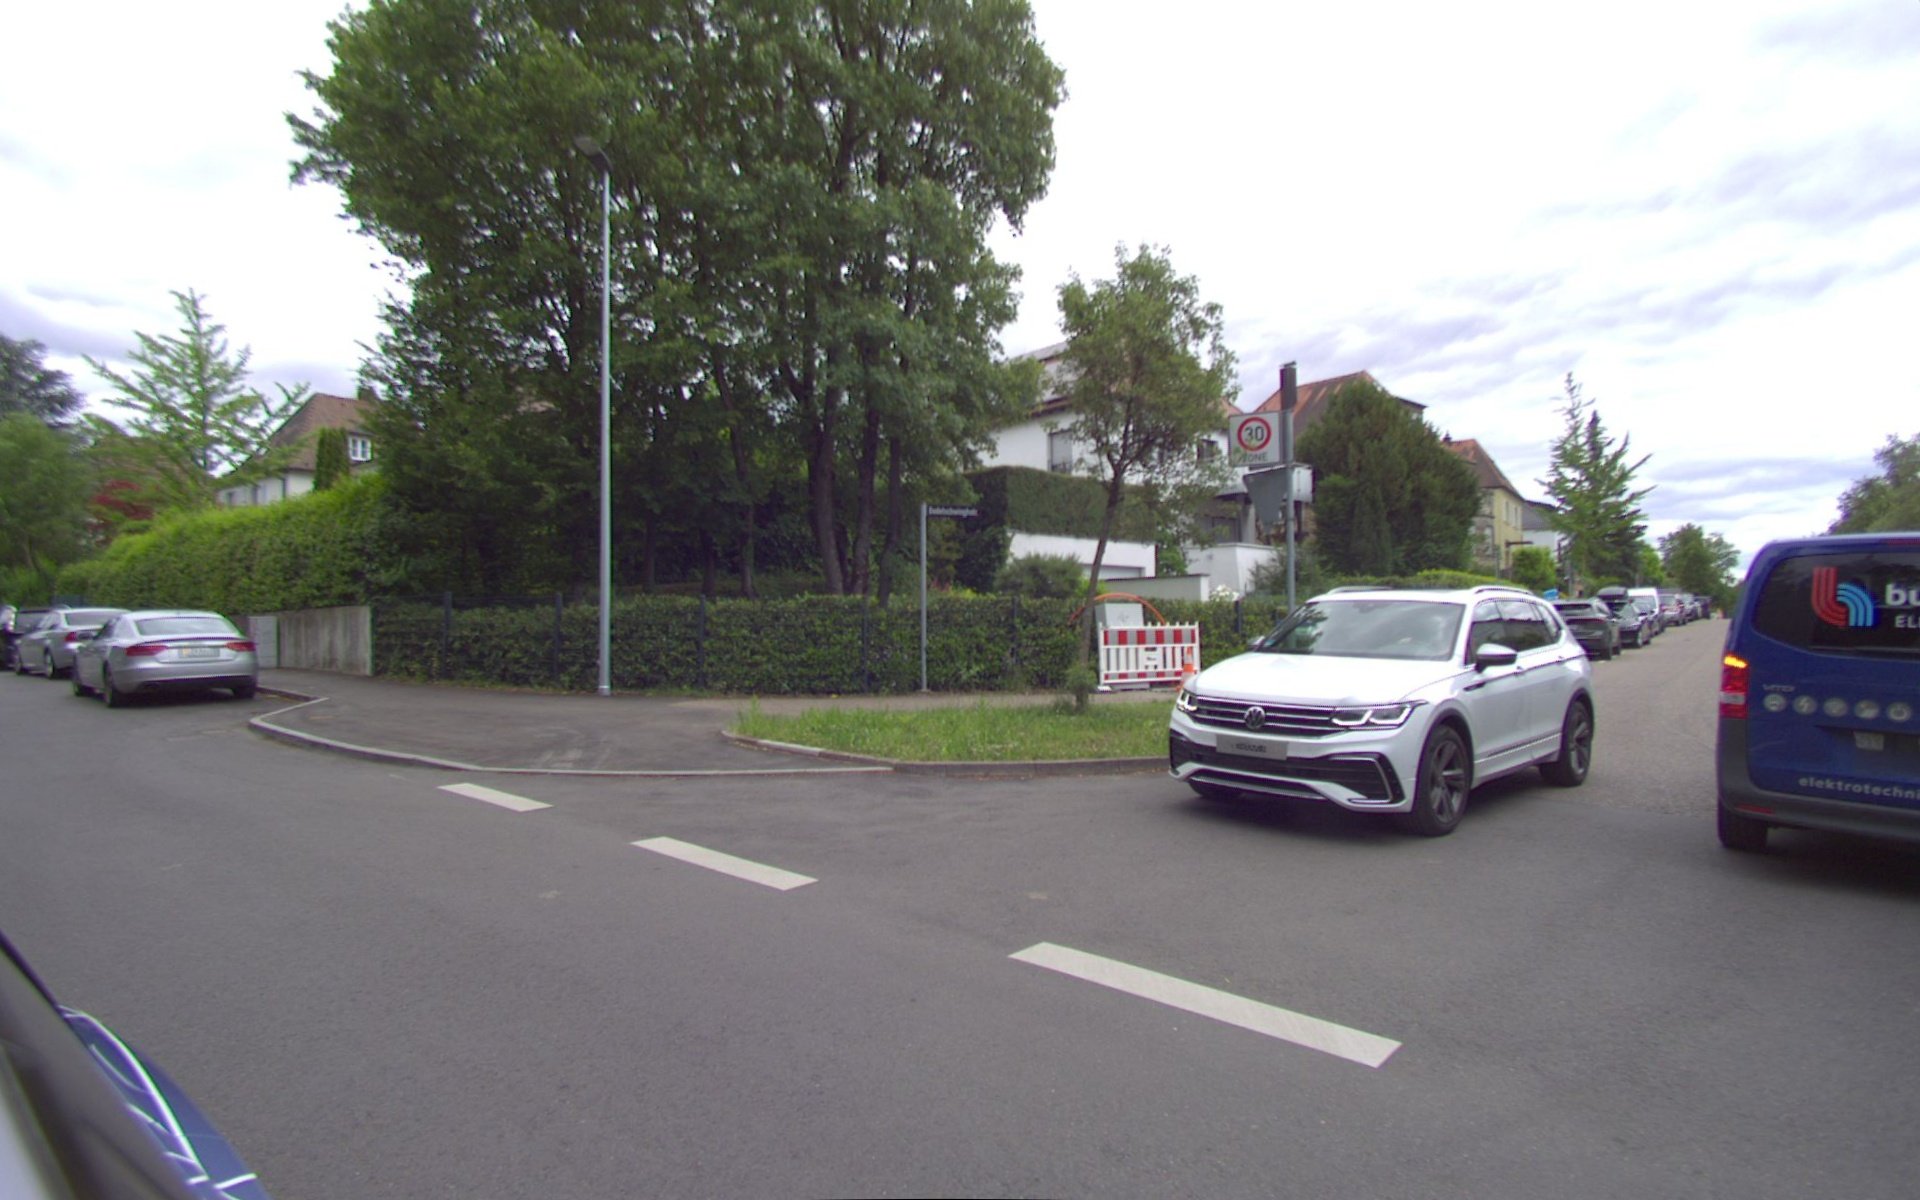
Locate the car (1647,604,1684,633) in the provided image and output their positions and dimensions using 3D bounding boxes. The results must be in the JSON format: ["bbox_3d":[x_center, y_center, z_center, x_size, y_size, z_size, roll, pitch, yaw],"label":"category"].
[{"bbox_3d":[36.943,0.950,53.028,1.527,1.422,3.510,-1,0,35],"label":"car"}]

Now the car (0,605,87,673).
[{"bbox_3d":[-23.204,0.923,25.040,4.469,1.545,1.640,-1,0,39],"label":"car"}]

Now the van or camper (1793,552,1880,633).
[{"bbox_3d":[34.133,-0.275,39.584,2.304,2.867,7.520,-1,0,39],"label":"van or camper"}]

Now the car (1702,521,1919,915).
[{"bbox_3d":[6.197,0.556,6.462,1.942,1.894,4.468,-1,0,41],"label":"car"}]

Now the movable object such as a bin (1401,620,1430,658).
[{"bbox_3d":[12.686,1.076,28.191,0.576,1.009,0.577,0,-1,-44],"label":"movable object such as a bin"}]

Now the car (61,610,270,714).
[{"bbox_3d":[-12.662,0.890,16.023,4.443,1.384,1.812,-1,0,41],"label":"car"}]

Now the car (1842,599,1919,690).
[{"bbox_3d":[16.450,0.713,17.582,1.529,1.422,3.746,-1,0,39],"label":"car"}]

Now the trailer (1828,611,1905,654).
[{"bbox_3d":[25.224,0.862,28.133,1.481,1.104,3.335,-1,0,44],"label":"trailer"}]

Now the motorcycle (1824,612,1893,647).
[{"bbox_3d":[26.931,0.870,30.368,0.713,0.971,2.031,-1,0,16],"label":"motorcycle"}]

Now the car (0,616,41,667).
[{"bbox_3d":[-27.615,1.152,28.431,4.096,1.351,1.697,-1,0,34],"label":"car"}]

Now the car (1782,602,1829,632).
[{"bbox_3d":[43.452,0.857,52.051,1.527,1.422,3.510,-1,0,35],"label":"car"}]

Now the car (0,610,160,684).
[{"bbox_3d":[-18.873,0.942,21.581,4.332,1.384,1.759,-1,0,37],"label":"car"}]

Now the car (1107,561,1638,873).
[{"bbox_3d":[3.467,0.626,7.904,4.878,1.682,2.039,0,0,-44],"label":"car"}]

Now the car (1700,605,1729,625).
[{"bbox_3d":[55.188,1.103,74.059,1.527,1.422,3.510,-1,0,35],"label":"car"}]

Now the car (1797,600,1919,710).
[{"bbox_3d":[13.396,0.722,14.677,1.668,1.422,3.508,-1,0,36],"label":"car"}]

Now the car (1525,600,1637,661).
[{"bbox_3d":[17.036,0.787,27.690,1.764,1.540,3.911,-1,-1,44],"label":"car"}]

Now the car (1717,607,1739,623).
[{"bbox_3d":[74.831,1.443,98.579,1.527,1.422,3.510,-1,0,35],"label":"car"}]

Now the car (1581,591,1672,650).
[{"bbox_3d":[21.835,0.617,33.101,1.999,1.807,3.946,-1,0,40],"label":"car"}]

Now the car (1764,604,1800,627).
[{"bbox_3d":[53.108,1.015,65.445,1.527,1.422,3.510,-1,0,35],"label":"car"}]

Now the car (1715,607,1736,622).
[{"bbox_3d":[77.343,1.478,102.253,1.527,1.422,3.510,-1,0,35],"label":"car"}]

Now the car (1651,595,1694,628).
[{"bbox_3d":[32.458,0.508,46.169,1.527,1.422,3.510,-1,0,35],"label":"car"}]
